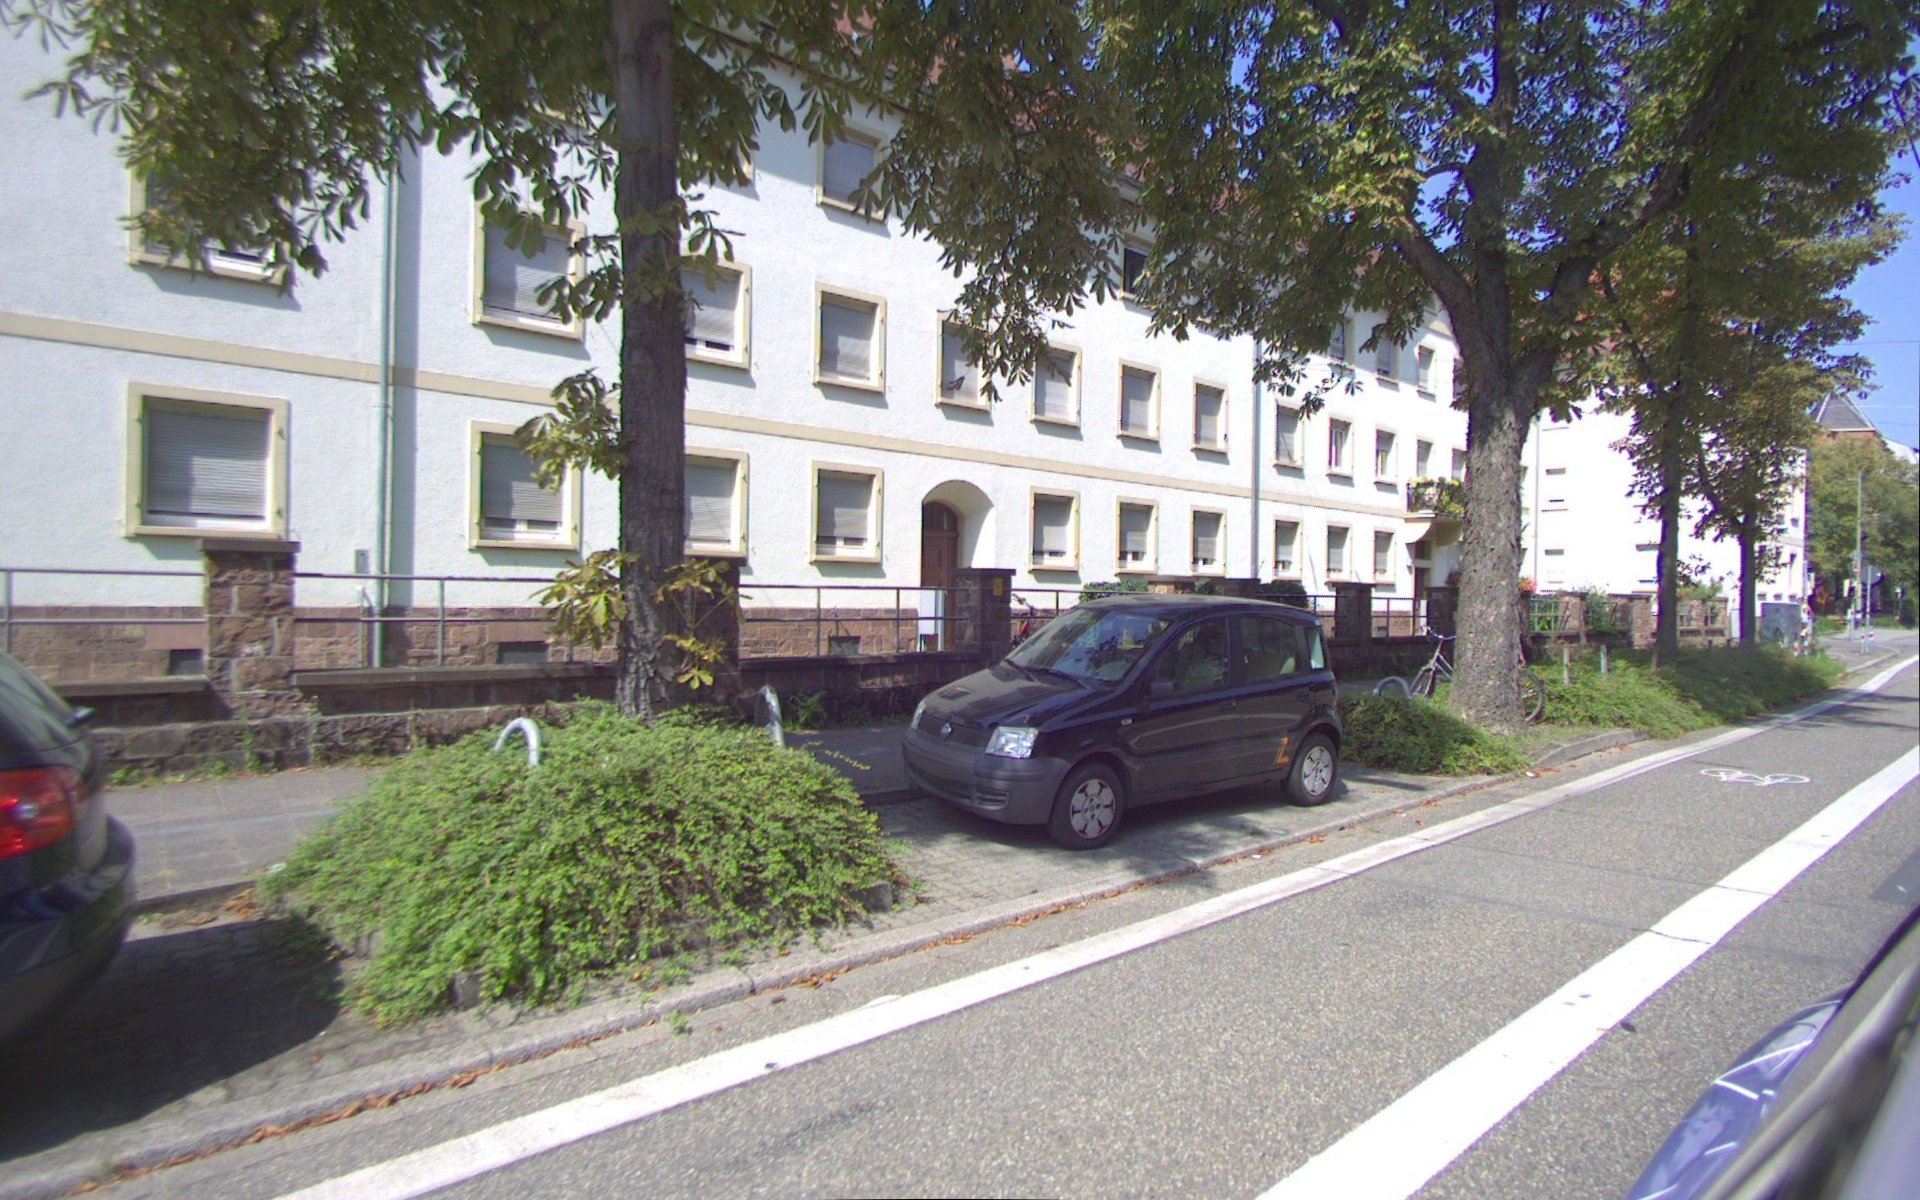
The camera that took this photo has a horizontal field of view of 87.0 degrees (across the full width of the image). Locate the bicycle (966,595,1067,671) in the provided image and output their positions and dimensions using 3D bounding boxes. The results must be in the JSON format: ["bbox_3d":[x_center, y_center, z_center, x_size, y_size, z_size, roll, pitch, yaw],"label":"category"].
[{"bbox_3d":[0.878,0.481,15.410,1.688,1.107,0.469,0,0,-42],"label":"bicycle"}]

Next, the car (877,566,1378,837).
[{"bbox_3d":[1.299,0.568,7.440,3.431,1.549,1.623,0,1,-34],"label":"car"}]

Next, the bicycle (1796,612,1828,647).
[{"bbox_3d":[26.810,0.928,31.835,1.796,1.060,0.441,0,0,-39],"label":"bicycle"}]

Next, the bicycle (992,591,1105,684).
[{"bbox_3d":[1.200,0.477,13.514,1.688,1.175,0.469,0,0,-42],"label":"bicycle"}]

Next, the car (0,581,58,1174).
[{"bbox_3d":[-4.467,0.698,1.971,3.967,1.495,1.620,0,2,-40],"label":"car"}]

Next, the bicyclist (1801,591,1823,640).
[{"bbox_3d":[26.784,0.482,31.810,0.463,1.531,0.438,1,0,-38],"label":"bicyclist"}]

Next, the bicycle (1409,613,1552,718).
[{"bbox_3d":[5.904,0.728,11.532,1.372,1.122,0.388,1,0,15],"label":"bicycle"}]
